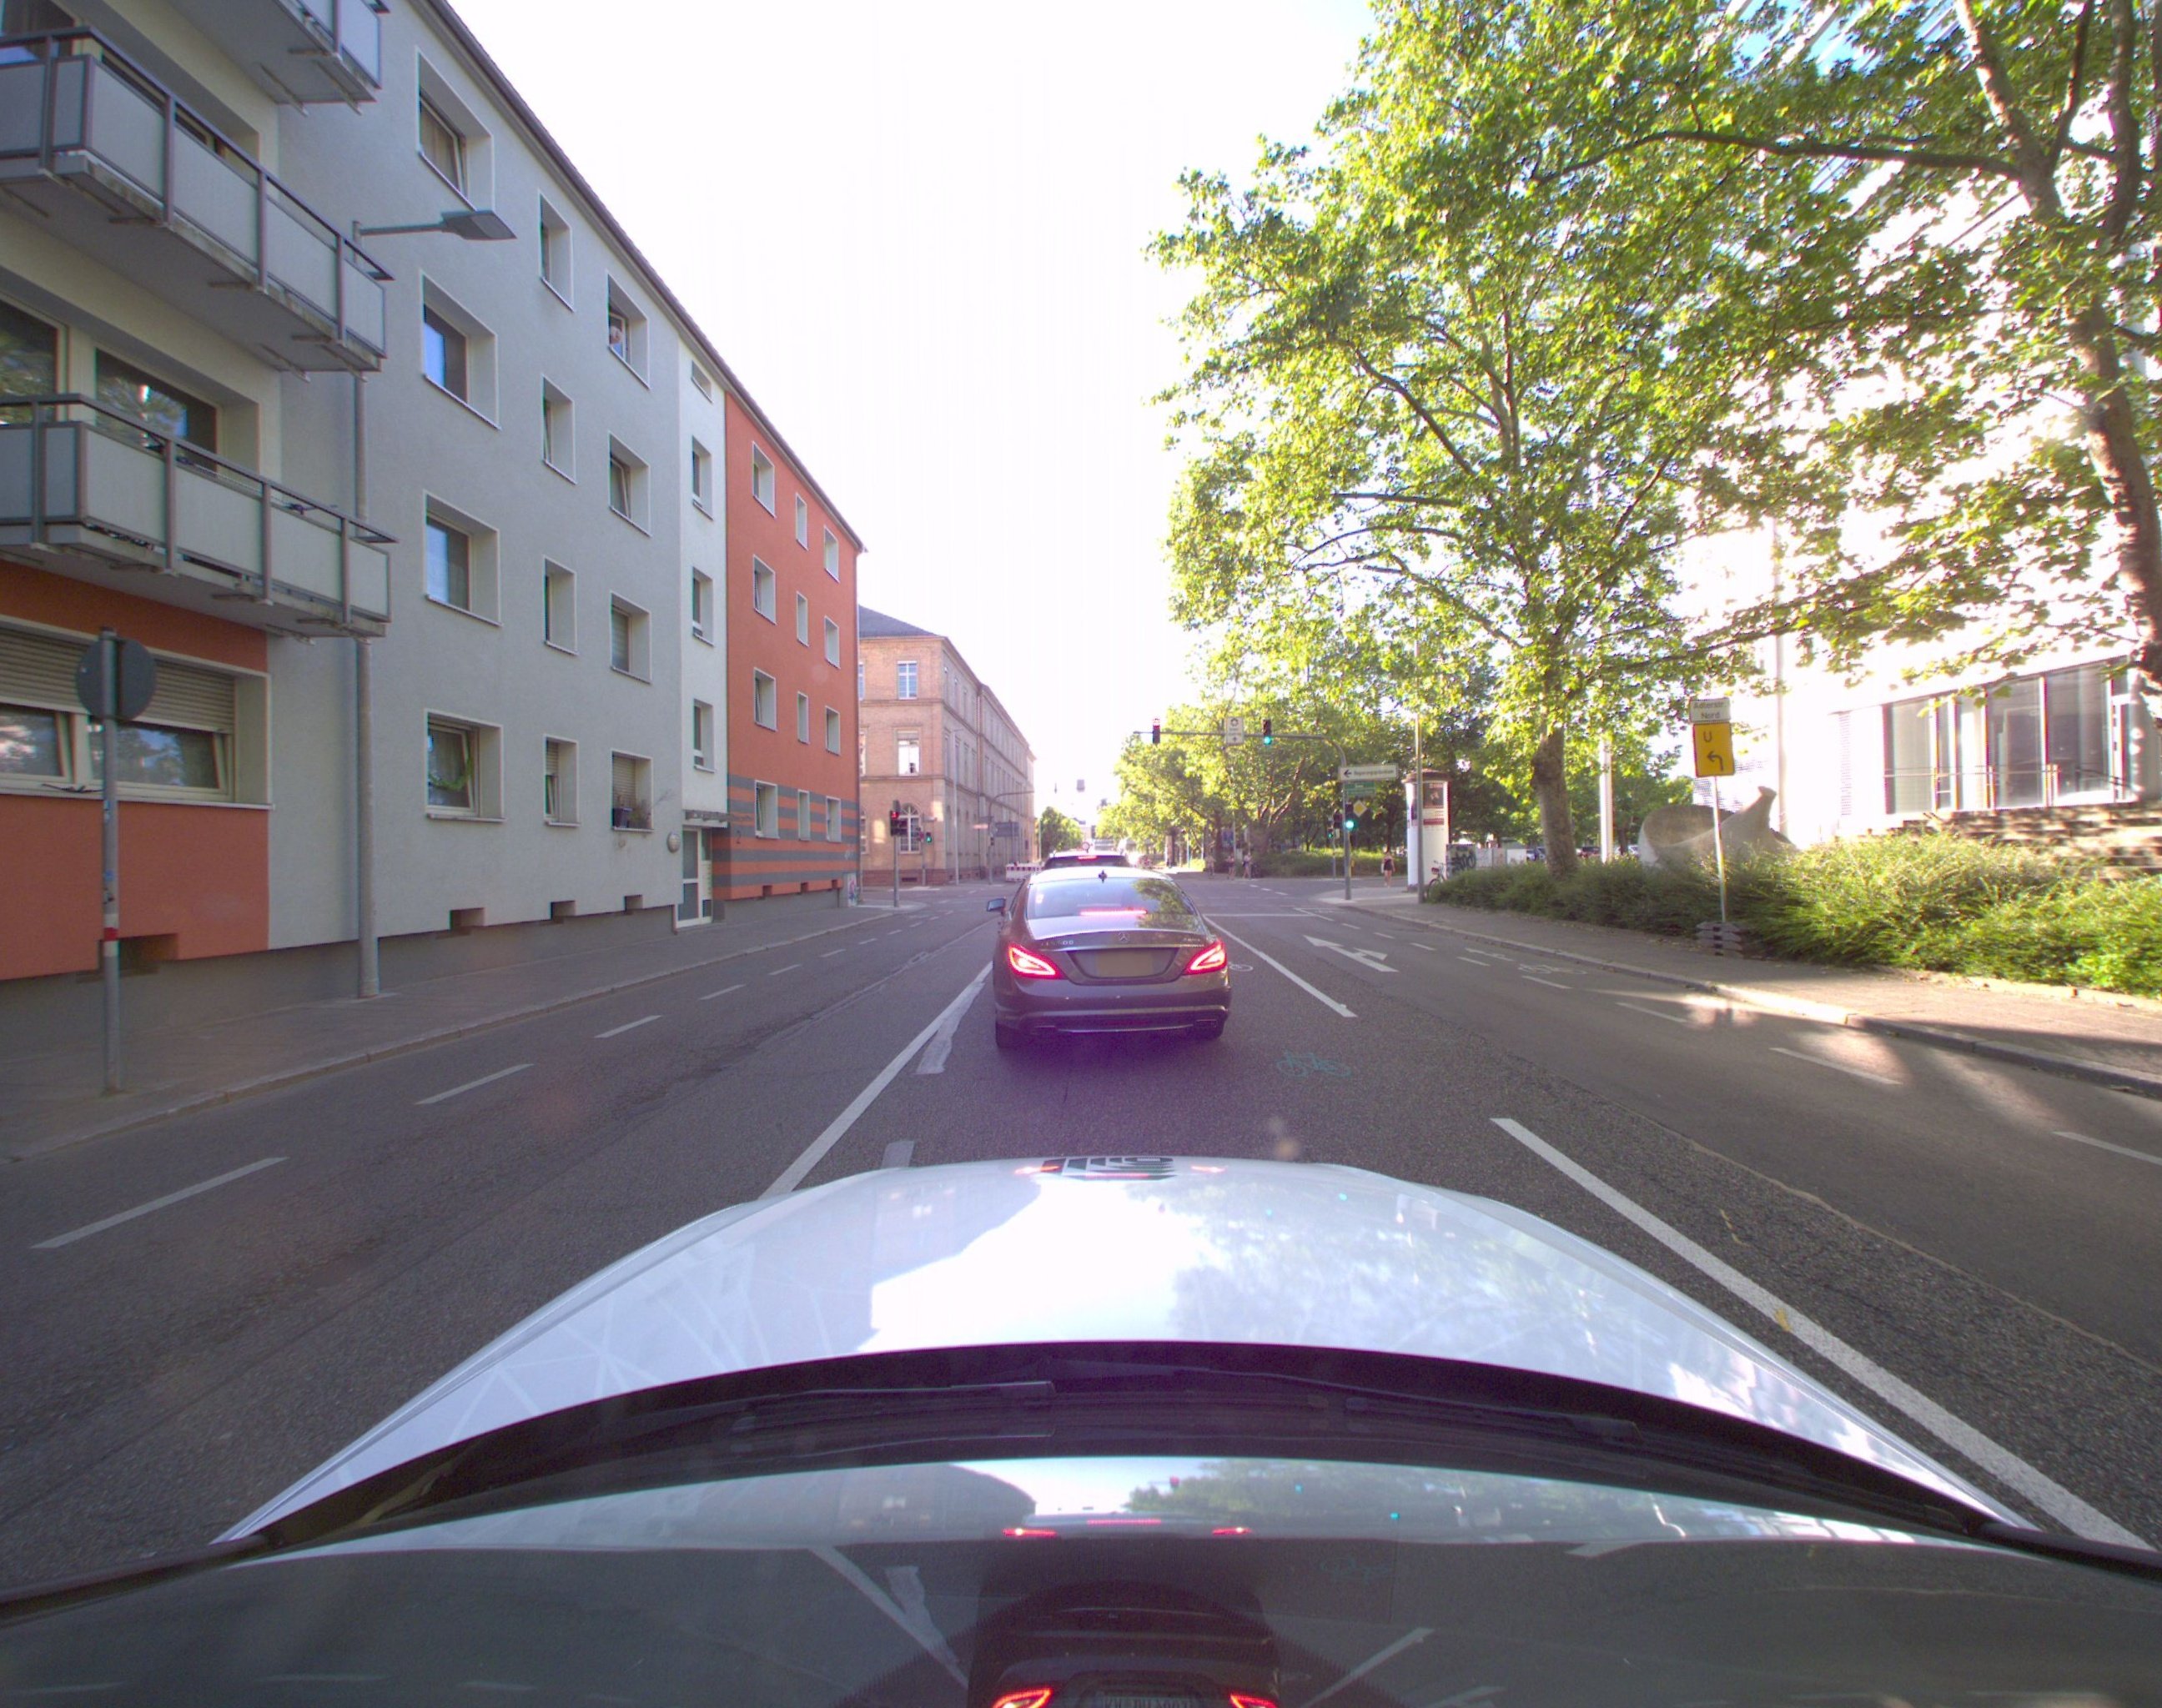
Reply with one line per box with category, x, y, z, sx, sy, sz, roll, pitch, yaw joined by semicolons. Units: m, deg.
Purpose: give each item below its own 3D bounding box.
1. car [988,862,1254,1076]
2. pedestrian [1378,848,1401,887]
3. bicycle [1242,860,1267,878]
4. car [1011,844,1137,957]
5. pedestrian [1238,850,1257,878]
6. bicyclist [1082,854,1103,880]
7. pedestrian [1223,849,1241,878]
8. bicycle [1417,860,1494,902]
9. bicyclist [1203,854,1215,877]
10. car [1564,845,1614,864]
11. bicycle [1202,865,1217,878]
car;0.116;0.798;7.847;1.840;1.429;4.510;0;0;-5
pedestrian;13.194;0.561;34.834;0.792;1.630;0.911;-1;-1;14
bicycle;10.796;0.928;50.696;0.527;1.100;1.726;0;-1;-26
car;0.015;0.696;13.918;1.801;1.612;4.003;-1;-1;3
pedestrian;10.331;0.628;50.582;0.686;1.697;0.963;0;-1;-24
bicyclist;0.703;0.773;48.272;0.957;1.500;0.814;0;-1;-35
pedestrian;9.416;0.599;50.868;0.734;1.808;0.903;-1;-2;-19
bicycle;10.797;0.772;23.492;1.969;1.190;0.528;0;-1;0
bicyclist;8.648;0.756;55.031;0.642;1.558;0.811;-1;-1;22
car;39.735;0.053;63.816;1.624;1.483;3.796;0;-1;1
bicycle;8.704;1.184;55.155;0.543;0.891;1.878;-1;-1;22
